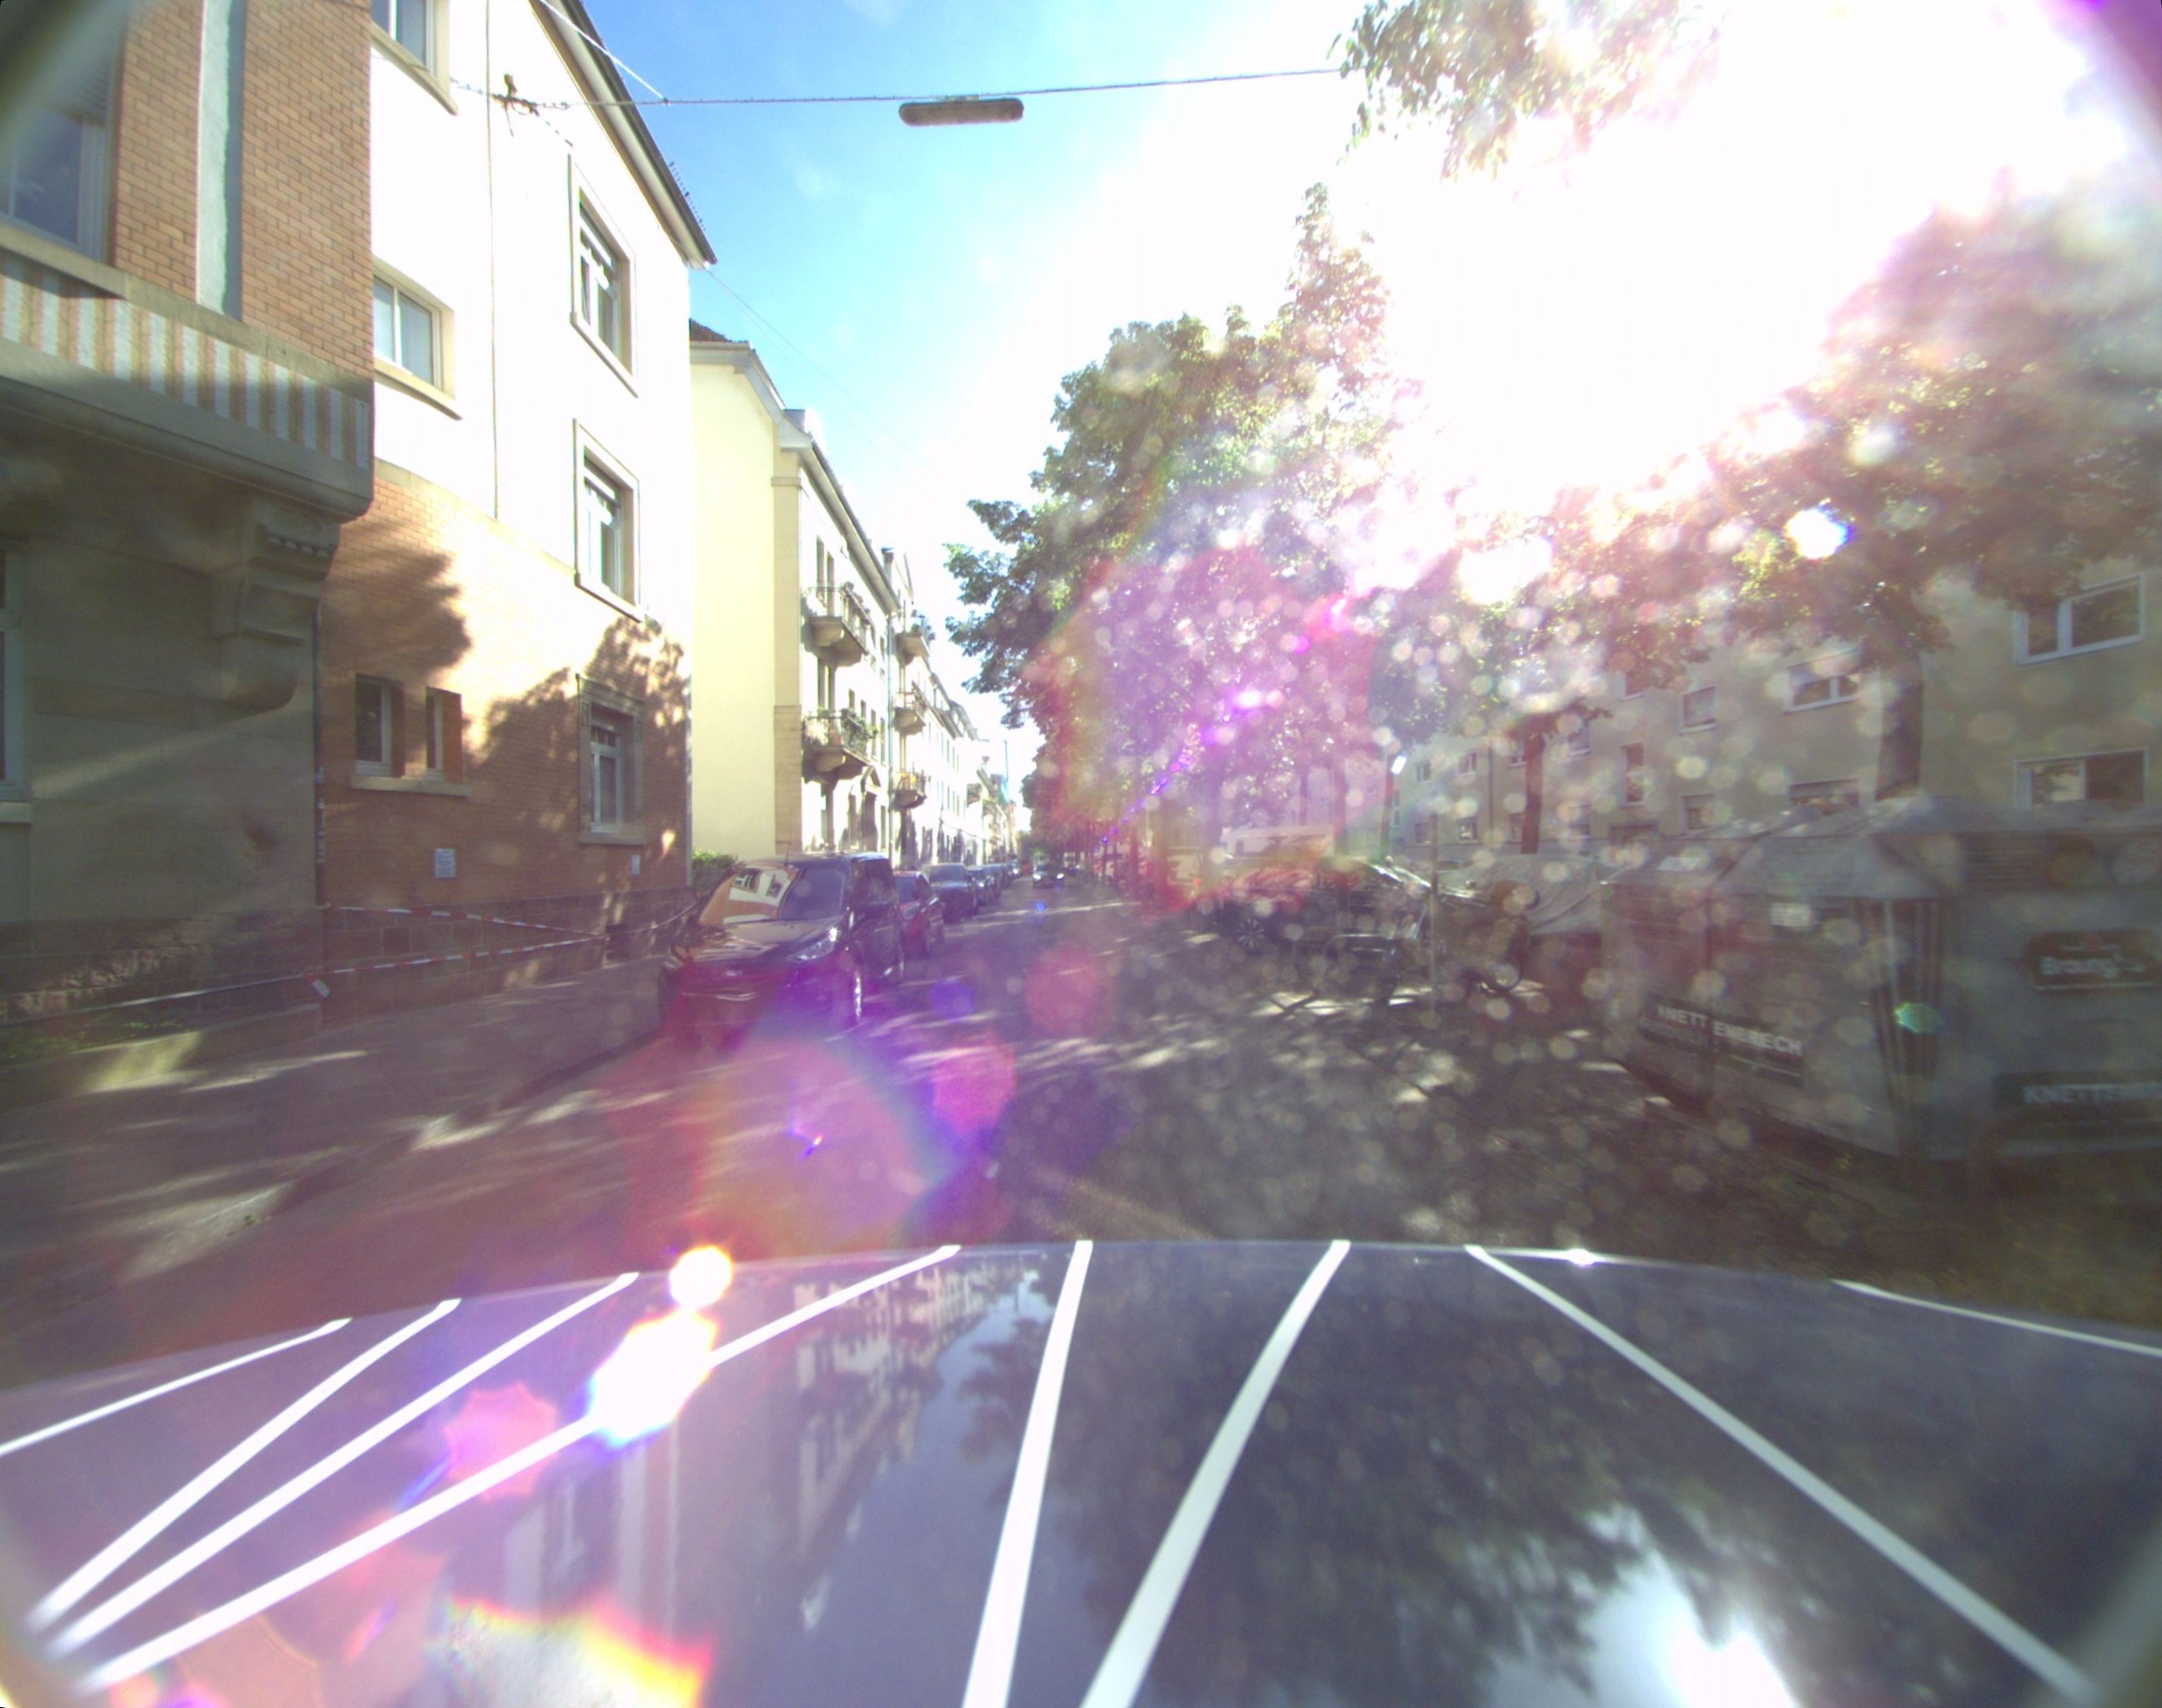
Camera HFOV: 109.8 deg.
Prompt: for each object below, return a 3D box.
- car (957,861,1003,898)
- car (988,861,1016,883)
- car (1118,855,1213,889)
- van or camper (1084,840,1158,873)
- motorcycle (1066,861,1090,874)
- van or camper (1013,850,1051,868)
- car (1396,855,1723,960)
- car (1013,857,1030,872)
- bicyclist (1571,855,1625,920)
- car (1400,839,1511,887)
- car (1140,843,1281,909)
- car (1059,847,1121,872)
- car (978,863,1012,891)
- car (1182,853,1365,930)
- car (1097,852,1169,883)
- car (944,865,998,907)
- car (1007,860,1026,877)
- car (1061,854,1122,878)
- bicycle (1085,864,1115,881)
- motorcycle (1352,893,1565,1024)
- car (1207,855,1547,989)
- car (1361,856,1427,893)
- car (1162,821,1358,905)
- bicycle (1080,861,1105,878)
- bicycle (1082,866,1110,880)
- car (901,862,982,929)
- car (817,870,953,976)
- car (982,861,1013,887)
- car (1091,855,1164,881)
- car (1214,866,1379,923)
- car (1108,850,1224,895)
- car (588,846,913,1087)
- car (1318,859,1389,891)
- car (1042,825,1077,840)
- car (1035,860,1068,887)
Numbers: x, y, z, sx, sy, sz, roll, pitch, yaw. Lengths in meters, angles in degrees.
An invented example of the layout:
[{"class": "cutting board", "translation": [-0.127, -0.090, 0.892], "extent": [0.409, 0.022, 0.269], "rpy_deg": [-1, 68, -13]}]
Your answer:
[{"class": "car", "translation": [-4.457, 1.081, 34.003], "extent": [1.810, 1.554, 4.319], "rpy_deg": [0, 0, -4]}, {"class": "car", "translation": [-5.603, 1.254, 54.305], "extent": [1.775, 1.423, 4.289], "rpy_deg": [-2, 0, -3]}, {"class": "car", "translation": [3.996, 0.852, 36.119], "extent": [4.099, 1.473, 1.735], "rpy_deg": [-1, 1, 28]}, {"class": "van or camper", "translation": [3.728, 0.273, 70.953], "extent": [6.291, 2.808, 2.412], "rpy_deg": [-2, 0, 26]}, {"class": "motorcycle", "translation": [-0.303, 1.318, 72.464], "extent": [2.152, 1.222, 0.882], "rpy_deg": [-1, 0, 6]}, {"class": "van or camper", "translation": [-8.219, 0.927, 128.356], "extent": [6.018, 2.984, 2.404], "rpy_deg": [0, 0, 25]}, {"class": "car", "translation": [7.445, 0.850, 12.311], "extent": [4.094, 1.458, 1.869], "rpy_deg": [-2, 1, 15]}, {"class": "car", "translation": [-5.873, 1.053, 74.849], "extent": [1.611, 1.412, 4.567], "rpy_deg": [0, 0, -4]}, {"class": "bicyclist", "translation": [13.208, 0.837, 19.446], "extent": [0.717, 1.612, 0.928], "rpy_deg": [-1, 0, -5]}, {"class": "car", "translation": [14.353, 0.337, 29.448], "extent": [1.746, 1.712, 4.556], "rpy_deg": [0, 0, -5]}, {"class": "car", "translation": [3.990, 0.664, 23.534], "extent": [3.840, 1.877, 1.847], "rpy_deg": [-1, -1, 32]}, {"class": "car", "translation": [0.996, 0.613, 83.270], "extent": [6.311, 2.544, 2.342], "rpy_deg": [-2, 1, 29]}, {"class": "car", "translation": [-5.038, 1.331, 44.958], "extent": [1.697, 1.459, 4.004], "rpy_deg": [-2, 0, -3]}, {"class": "car", "translation": [4.347, 0.818, 17.230], "extent": [3.728, 1.572, 1.639], "rpy_deg": [-1, 0, 27]}, {"class": "car", "translation": [2.969, 0.763, 43.369], "extent": [3.686, 1.586, 1.775], "rpy_deg": [-2, 0, 22]}, {"class": "car", "translation": [-4.185, 1.199, 29.388], "extent": [1.594, 1.407, 3.631], "rpy_deg": [-2, 0, -2]}, {"class": "car", "translation": [-5.993, 1.297, 71.149], "extent": [1.603, 1.484, 3.965], "rpy_deg": [0, 0, -3]}, {"class": "car", "translation": [0.782, 0.886, 56.077], "extent": [4.079, 1.643, 1.866], "rpy_deg": [-2, 0, 24]}, {"class": "bicycle", "translation": [1.173, 1.155, 47.701], "extent": [1.813, 0.988, 0.426], "rpy_deg": [-2, 0, 13]}, {"class": "motorcycle", "translation": [3.690, 0.988, 7.454], "extent": [1.945, 1.164, 0.518], "rpy_deg": [0, 0, -10]}, {"class": "car", "translation": [4.091, 0.814, 10.825], "extent": [4.142, 1.545, 1.837], "rpy_deg": [-1, 0, 38]}, {"class": "car", "translation": [14.258, 0.917, 34.764], "extent": [1.478, 1.550, 3.183], "rpy_deg": [-3, 0, -5]}, {"class": "car", "translation": [6.115, 0.313, 26.248], "extent": [6.068, 2.606, 2.461], "rpy_deg": [0, -2, 33]}, {"class": "bicycle", "translation": [0.825, 1.133, 54.142], "extent": [1.688, 1.152, 0.379], "rpy_deg": [-2, 0, 16]}, {"class": "bicycle", "translation": [1.024, 1.331, 52.206], "extent": [1.900, 0.913, 0.379], "rpy_deg": [-2, 0, 16]}, {"class": "car", "translation": [-3.951, 1.110, 22.185], "extent": [1.869, 1.634, 4.489], "rpy_deg": [-2, 0, -6]}, {"class": "car", "translation": [-3.517, 1.162, 14.347], "extent": [1.650, 1.528, 3.999], "rpy_deg": [-4, 0, -3]}, {"class": "car", "translation": [-5.442, 1.282, 49.748], "extent": [1.772, 1.542, 4.182], "rpy_deg": [-3, 0, -4]}, {"class": "car", "translation": [3.044, 0.916, 50.115], "extent": [4.625, 1.477, 1.761], "rpy_deg": [-2, 0, 2]}, {"class": "car", "translation": [5.145, 0.916, 18.152], "extent": [3.558, 1.240, 1.661], "rpy_deg": [-1, 0, 26]}, {"class": "car", "translation": [3.396, 0.757, 30.632], "extent": [4.265, 1.632, 1.658], "rpy_deg": [-2, 0, 29]}, {"class": "car", "translation": [-3.192, 0.930, 8.417], "extent": [1.806, 1.860, 4.271], "rpy_deg": [-4, 0, -3]}, {"class": "car", "translation": [14.026, 1.063, 39.326], "extent": [1.898, 1.556, 4.158], "rpy_deg": [1, 0, -5]}, {"class": "car", "translation": [-2.844, -2.811, 100.209], "extent": [4.091, 1.516, 1.705], "rpy_deg": [-5, -2, 27]}, {"class": "car", "translation": [-1.644, 1.089, 44.057], "extent": [1.792, 1.510, 4.000], "rpy_deg": [0, 0, -1]}]
